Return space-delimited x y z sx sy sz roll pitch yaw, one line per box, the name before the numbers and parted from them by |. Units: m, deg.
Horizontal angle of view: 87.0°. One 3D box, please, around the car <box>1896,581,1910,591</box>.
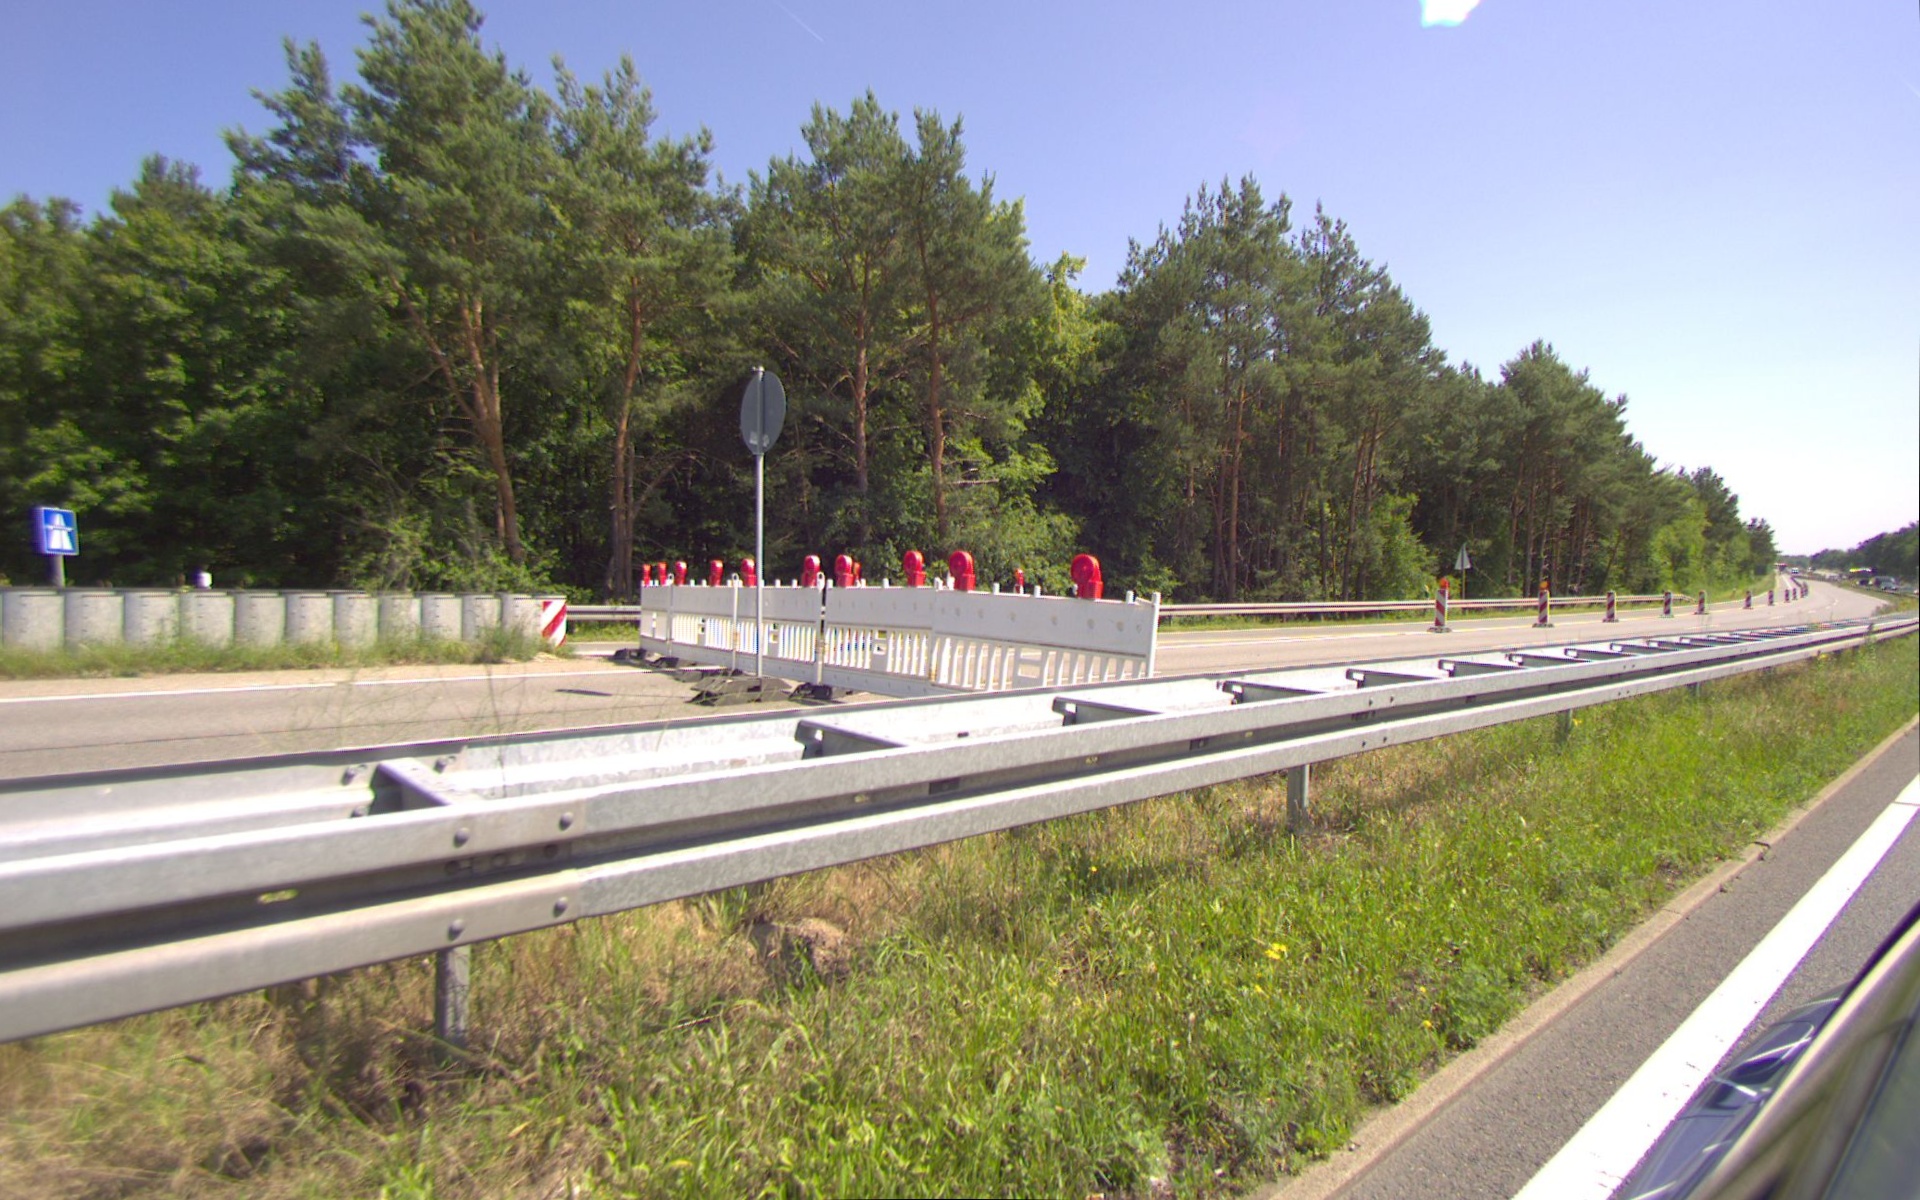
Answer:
car | 156.912 -2.278 168.423 1.522 1.677 3.920 2 1 42
